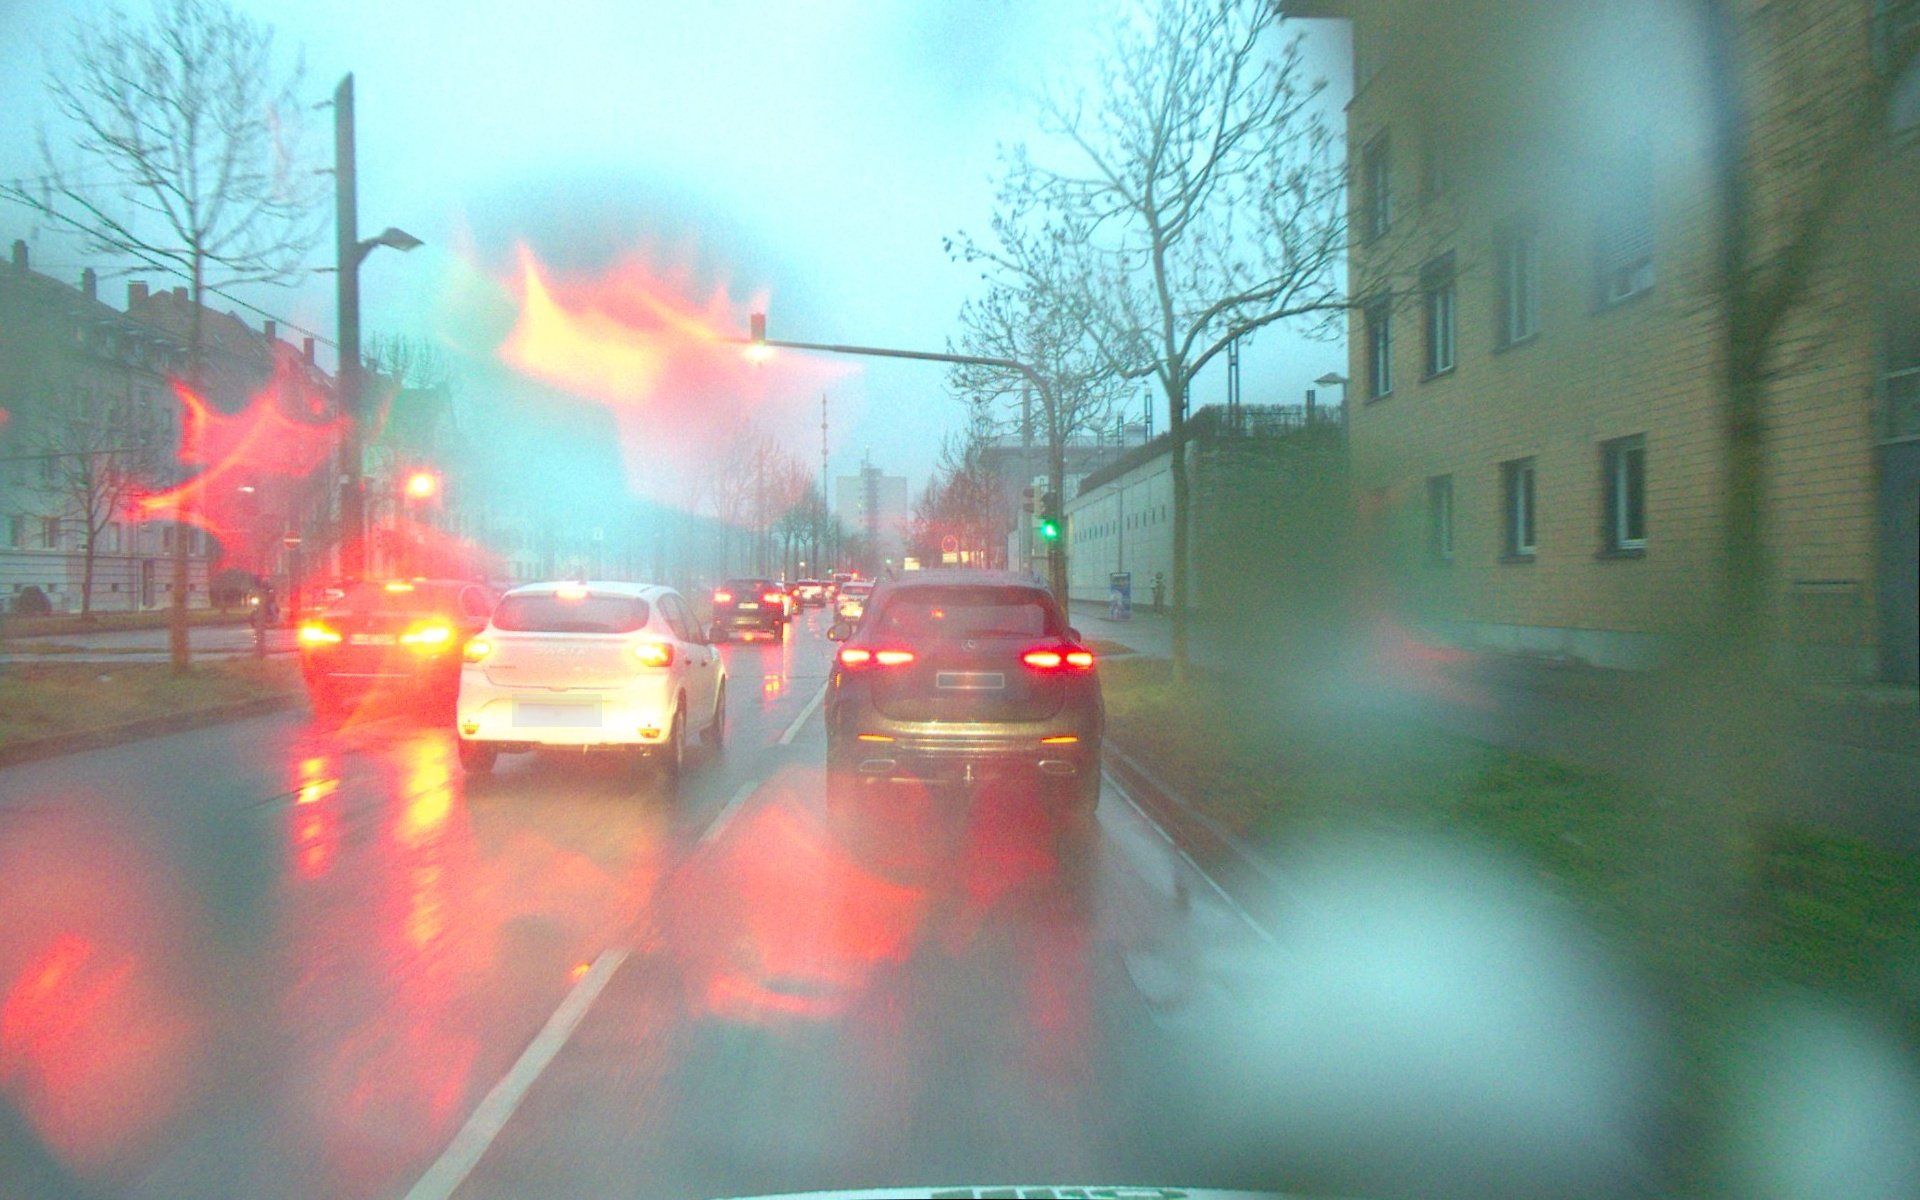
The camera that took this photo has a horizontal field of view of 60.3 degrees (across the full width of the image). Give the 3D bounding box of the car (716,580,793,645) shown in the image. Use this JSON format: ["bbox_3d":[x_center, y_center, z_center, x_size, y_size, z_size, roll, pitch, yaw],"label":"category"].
[{"bbox_3d":[-5.383,0.309,43.702,1.638,1.628,4.052,0,0,-1],"label":"car"}]

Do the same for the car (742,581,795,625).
[{"bbox_3d":[-7.248,0.091,63.009,1.638,1.628,4.052,0,0,-1],"label":"car"}]

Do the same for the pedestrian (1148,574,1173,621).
[{"bbox_3d":[6.982,-0.090,57.646,0.609,1.638,1.066,-1,1,-6],"label":"pedestrian"}]

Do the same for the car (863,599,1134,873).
[{"bbox_3d":[0.185,0.824,12.068,1.638,1.628,4.052,0,0,-1],"label":"car"}]

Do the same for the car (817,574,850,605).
[{"bbox_3d":[-8.813,-0.711,115.360,1.953,2.049,3.999,1,0,-1],"label":"car"}]

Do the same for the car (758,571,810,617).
[{"bbox_3d":[-8.148,-0.262,76.861,1.953,2.049,3.999,1,0,-1],"label":"car"}]

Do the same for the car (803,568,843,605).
[{"bbox_3d":[-7.960,-0.748,96.294,1.953,2.049,3.999,1,0,-1],"label":"car"}]

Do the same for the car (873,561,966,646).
[{"bbox_3d":[-0.912,0.053,37.322,1.953,1.774,3.999,-1,1,-1],"label":"car"}]

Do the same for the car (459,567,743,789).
[{"bbox_3d":[-2.900,0.561,14.183,1.638,1.628,4.052,0,0,-1],"label":"car"}]
